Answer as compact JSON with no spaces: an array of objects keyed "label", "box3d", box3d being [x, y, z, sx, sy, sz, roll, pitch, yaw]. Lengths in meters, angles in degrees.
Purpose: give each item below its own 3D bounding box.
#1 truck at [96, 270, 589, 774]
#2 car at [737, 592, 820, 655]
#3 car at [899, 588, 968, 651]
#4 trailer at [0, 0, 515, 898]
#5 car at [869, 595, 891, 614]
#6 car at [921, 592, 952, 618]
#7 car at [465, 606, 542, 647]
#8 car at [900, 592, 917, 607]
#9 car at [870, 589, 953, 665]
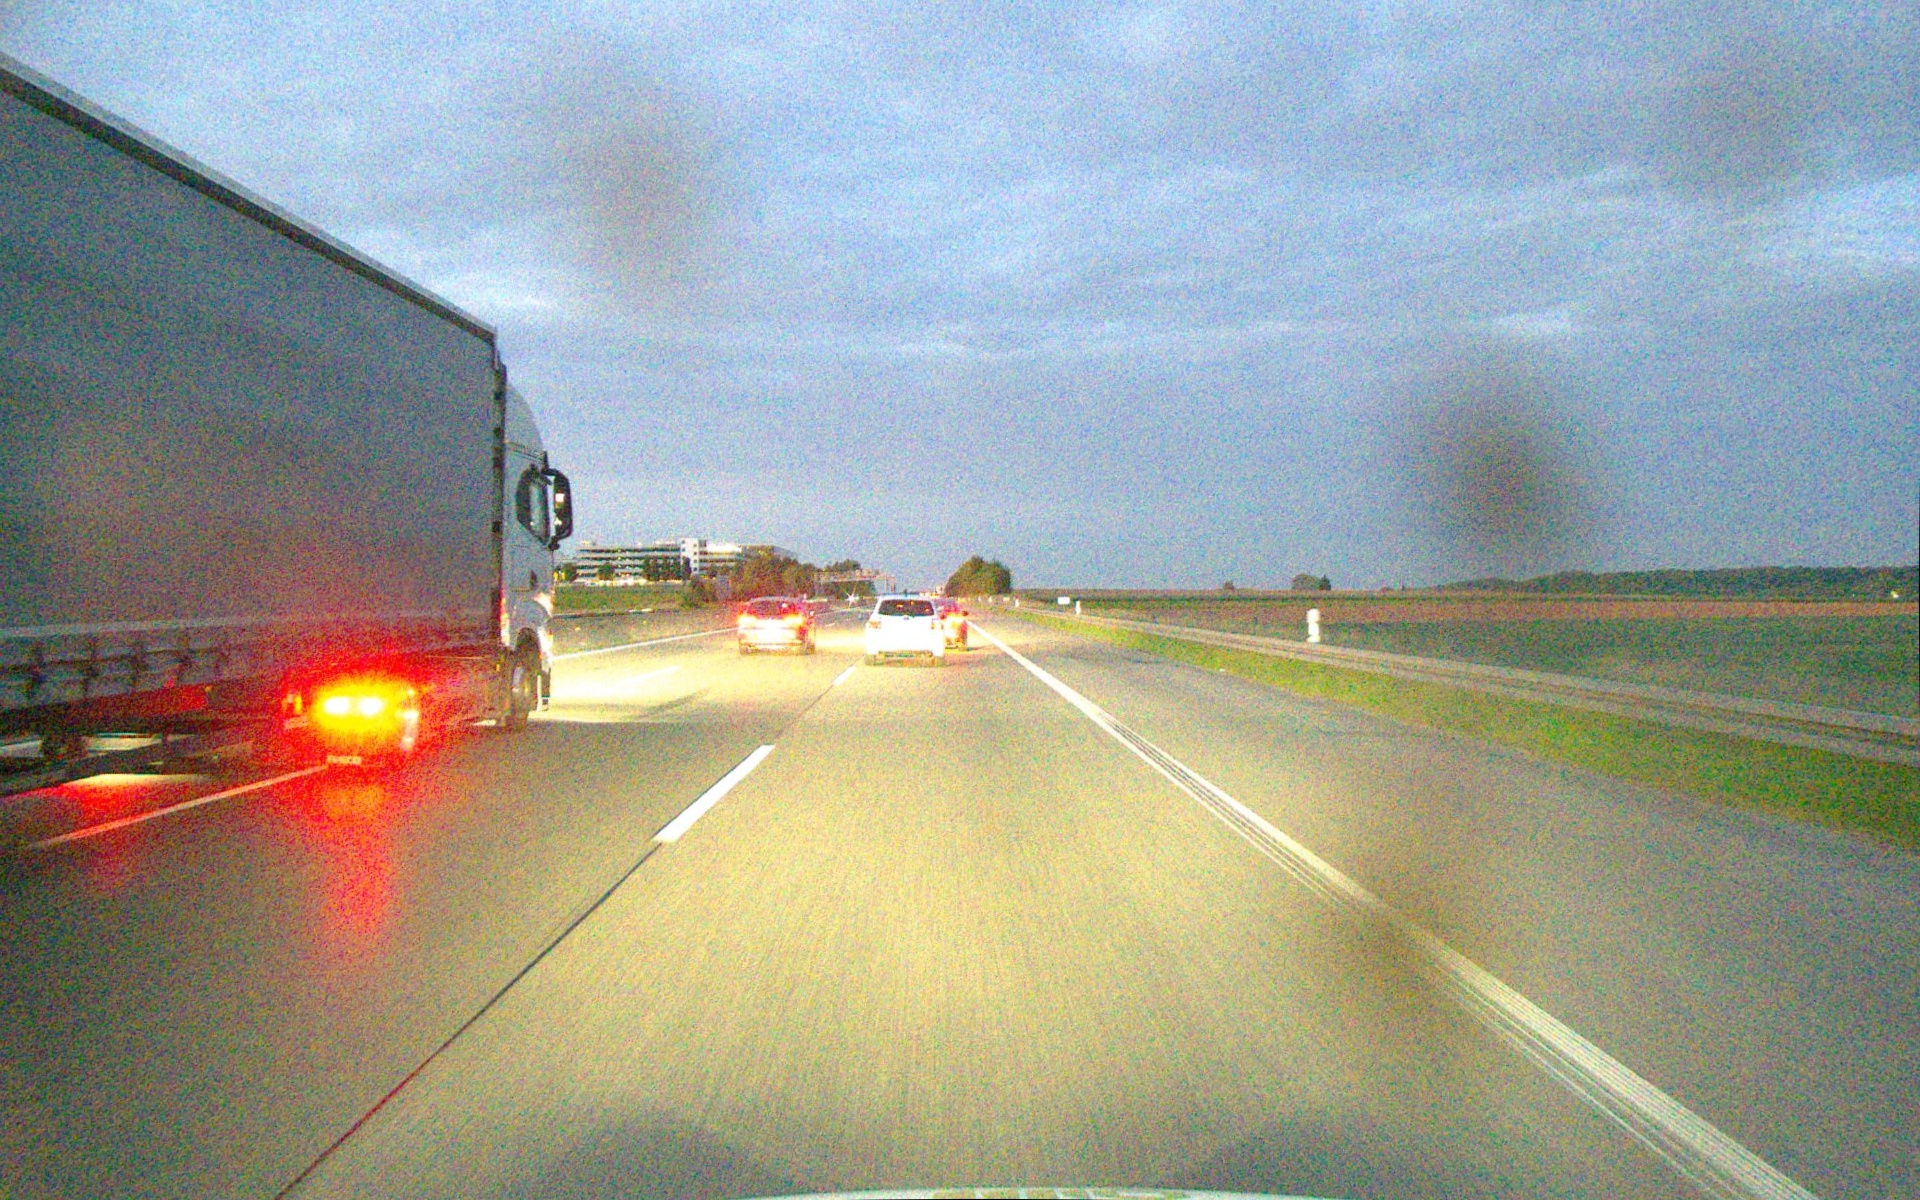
[{"label":"truck","box3d":[-5.808,-0.636,16.779,2.721,4.164,6.102,0,0,0]},{"label":"car","box3d":[-4.583,0.591,42.394,1.688,1.497,4.724,1,0,-1]},{"label":"car","box3d":[-0.753,0.538,46.356,1.842,1.672,3.999,1,0,-1]},{"label":"trailer","box3d":[-5.809,-0.683,9.264,2.737,4.157,14.524,0,0,0]},{"label":"car","box3d":[-7.001,0.412,145.365,1.842,1.579,3.998,1,0,-2]},{"label":"car","box3d":[-1.453,0.330,102.487,1.842,1.579,3.998,1,0,-2]},{"label":"car","box3d":[-16.313,0.946,59.223,1.697,1.393,3.899,1,0,-1]},{"label":"car","box3d":[-6.953,-0.063,223.692,2.154,1.912,3.999,1,0,-1]},{"label":"car","box3d":[-1.038,0.577,36.702,1.709,1.551,4.413,1,0,-1]}]
